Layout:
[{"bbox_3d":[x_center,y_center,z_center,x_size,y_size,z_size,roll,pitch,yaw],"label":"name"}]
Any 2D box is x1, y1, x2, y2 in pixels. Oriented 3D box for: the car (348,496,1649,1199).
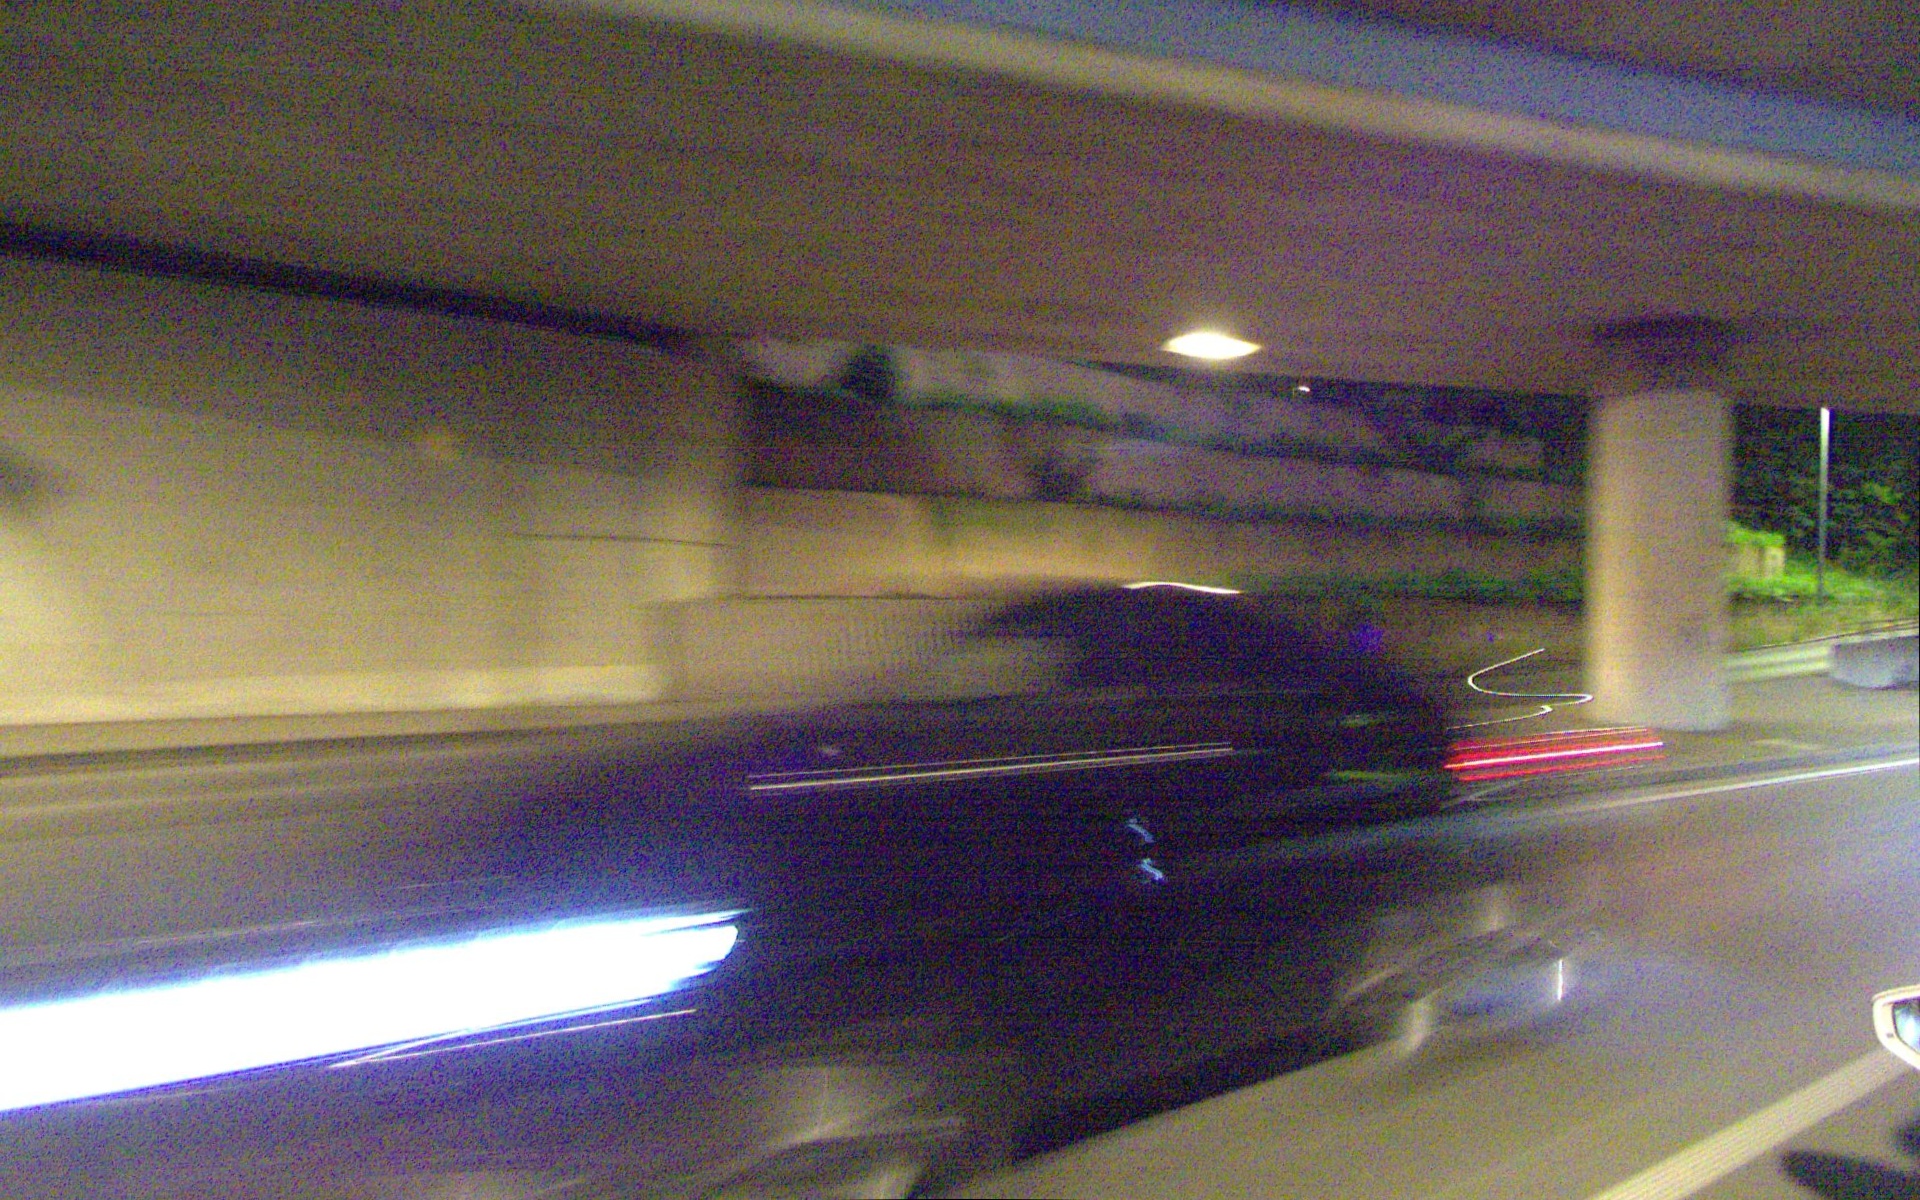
[{"bbox_3d":[0.340,0.707,3.497,4.171,1.575,1.872,3,-1,-32],"label":"car"}]
